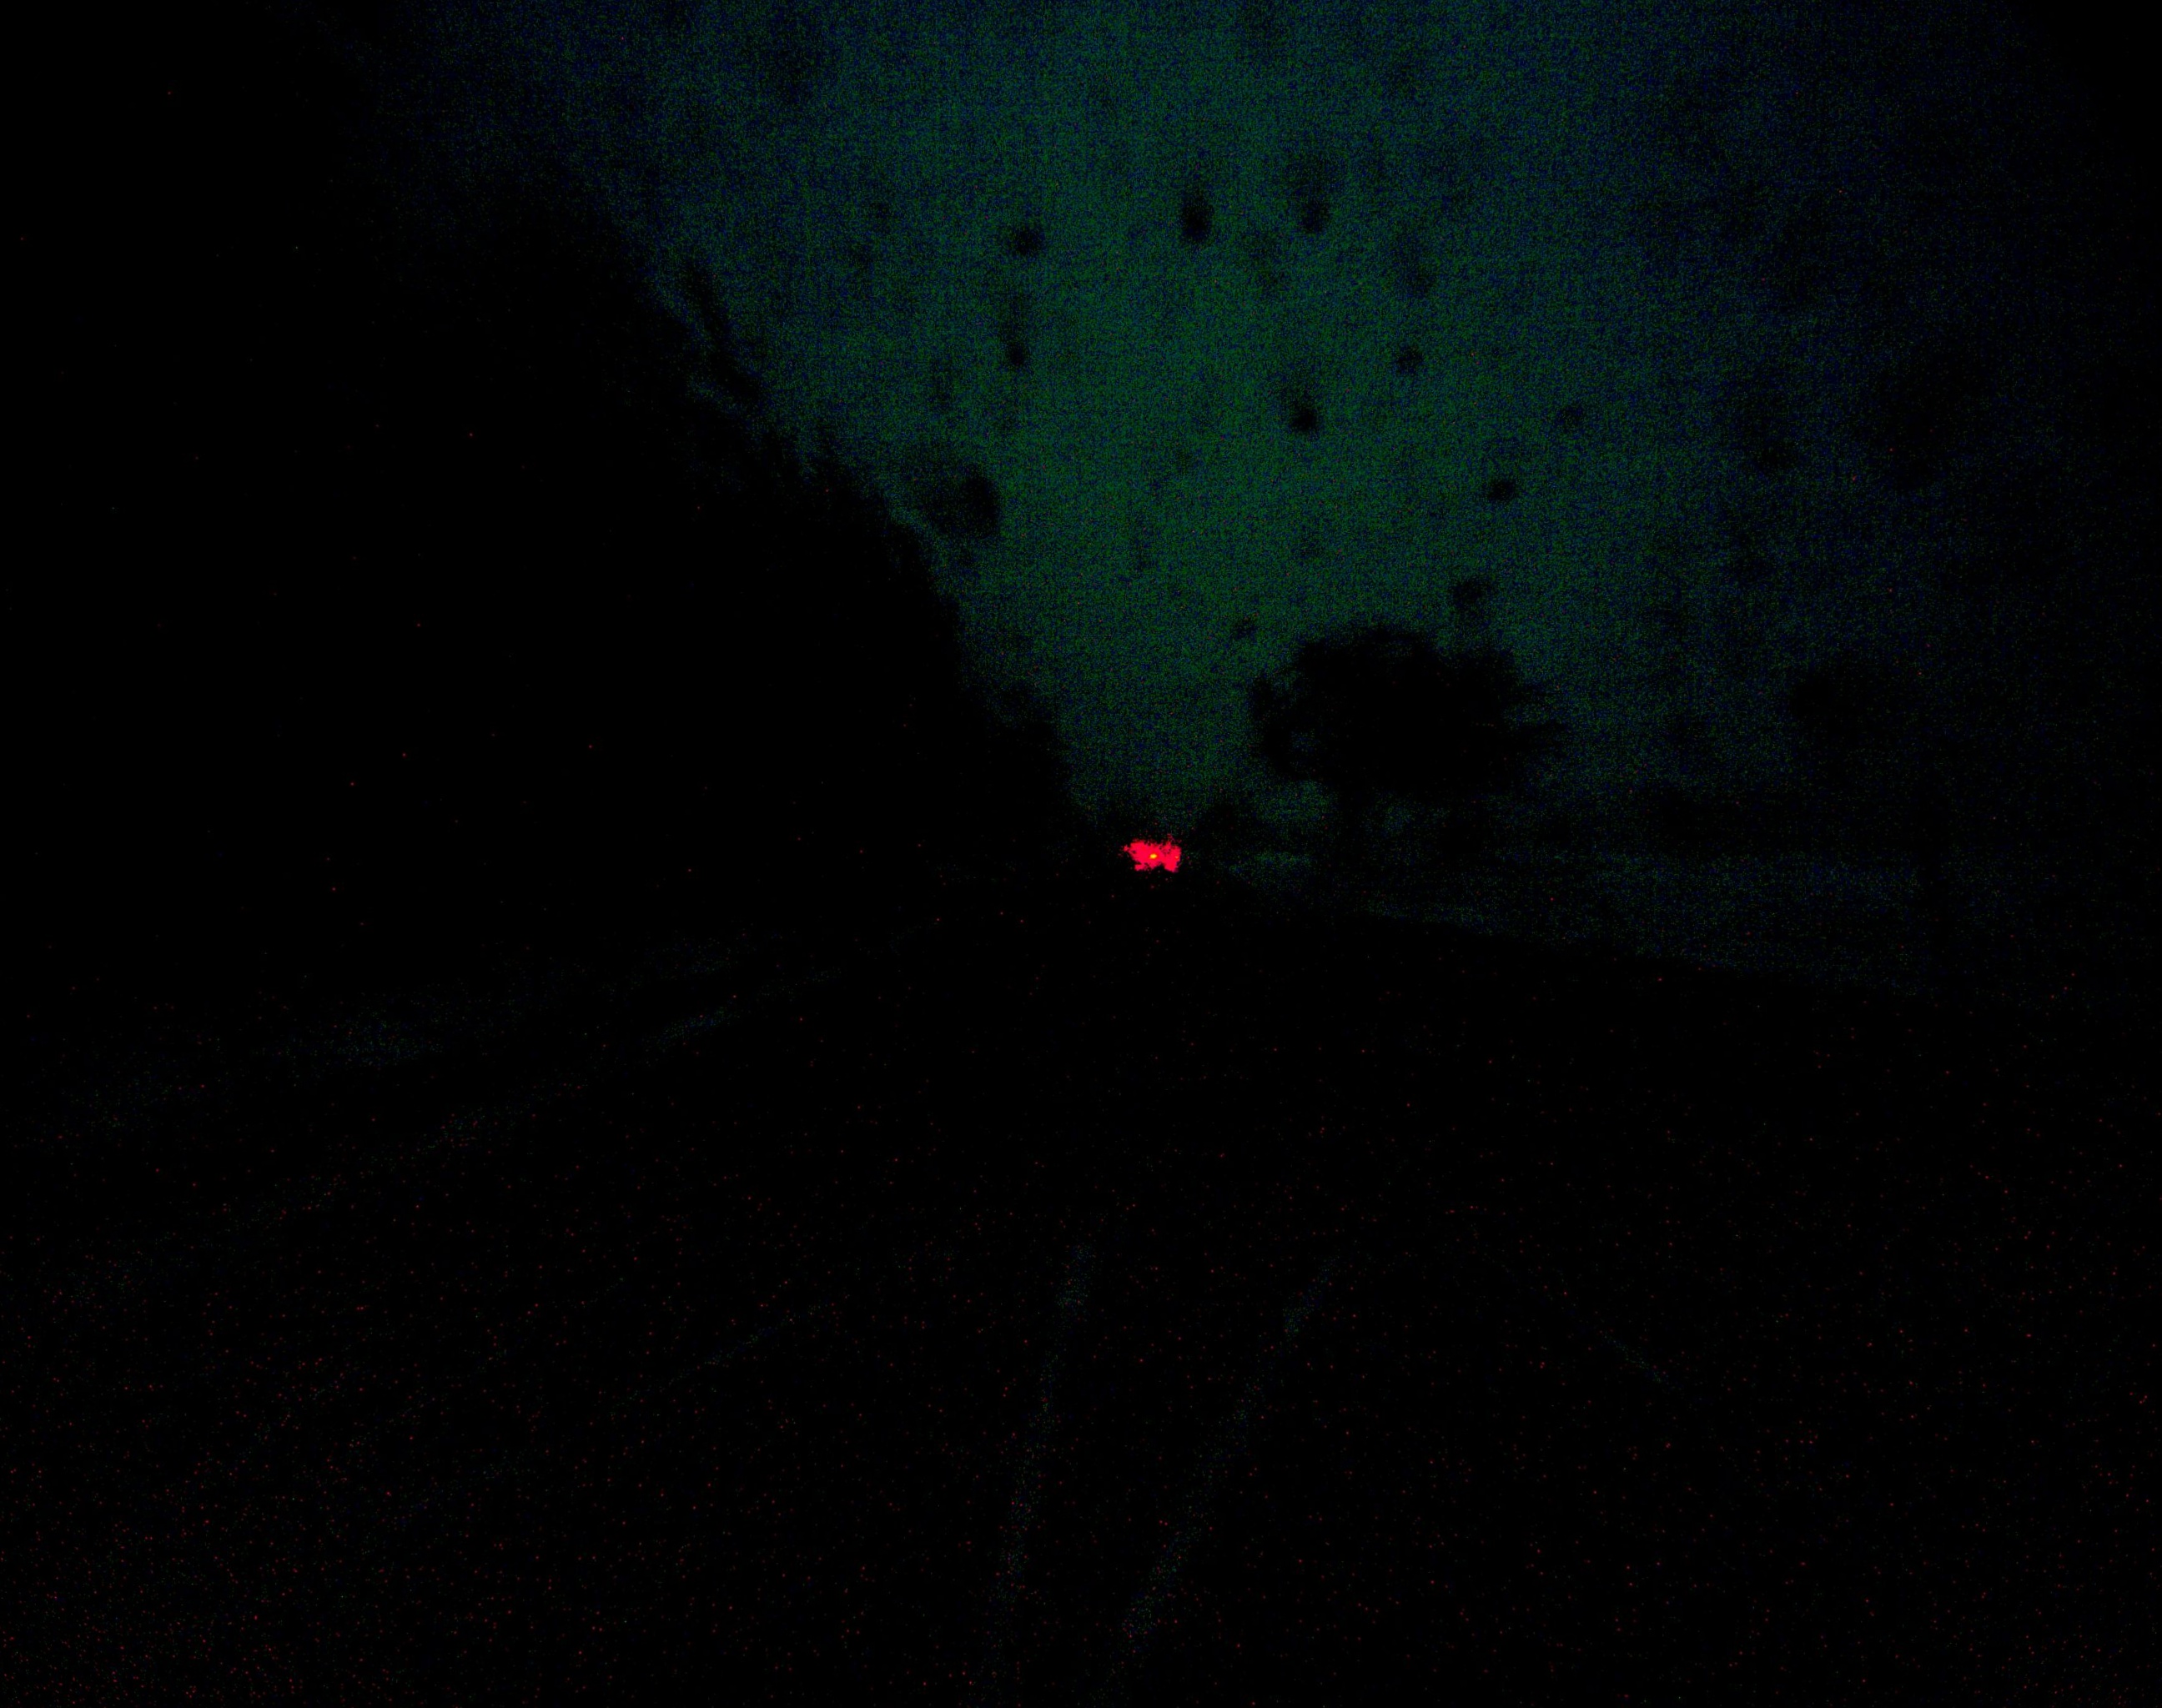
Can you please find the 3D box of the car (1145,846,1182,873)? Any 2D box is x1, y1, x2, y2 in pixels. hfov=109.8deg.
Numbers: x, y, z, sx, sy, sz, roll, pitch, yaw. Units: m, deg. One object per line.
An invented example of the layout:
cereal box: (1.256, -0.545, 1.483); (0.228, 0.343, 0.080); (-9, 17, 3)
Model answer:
car: (4.716, 0.294, 43.910); (1.746, 1.478, 4.004); (0, 0, 0)

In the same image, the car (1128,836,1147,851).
car: (6.469, -1.212, 86.267); (1.755, 1.683, 4.429); (-1, 1, 10)
